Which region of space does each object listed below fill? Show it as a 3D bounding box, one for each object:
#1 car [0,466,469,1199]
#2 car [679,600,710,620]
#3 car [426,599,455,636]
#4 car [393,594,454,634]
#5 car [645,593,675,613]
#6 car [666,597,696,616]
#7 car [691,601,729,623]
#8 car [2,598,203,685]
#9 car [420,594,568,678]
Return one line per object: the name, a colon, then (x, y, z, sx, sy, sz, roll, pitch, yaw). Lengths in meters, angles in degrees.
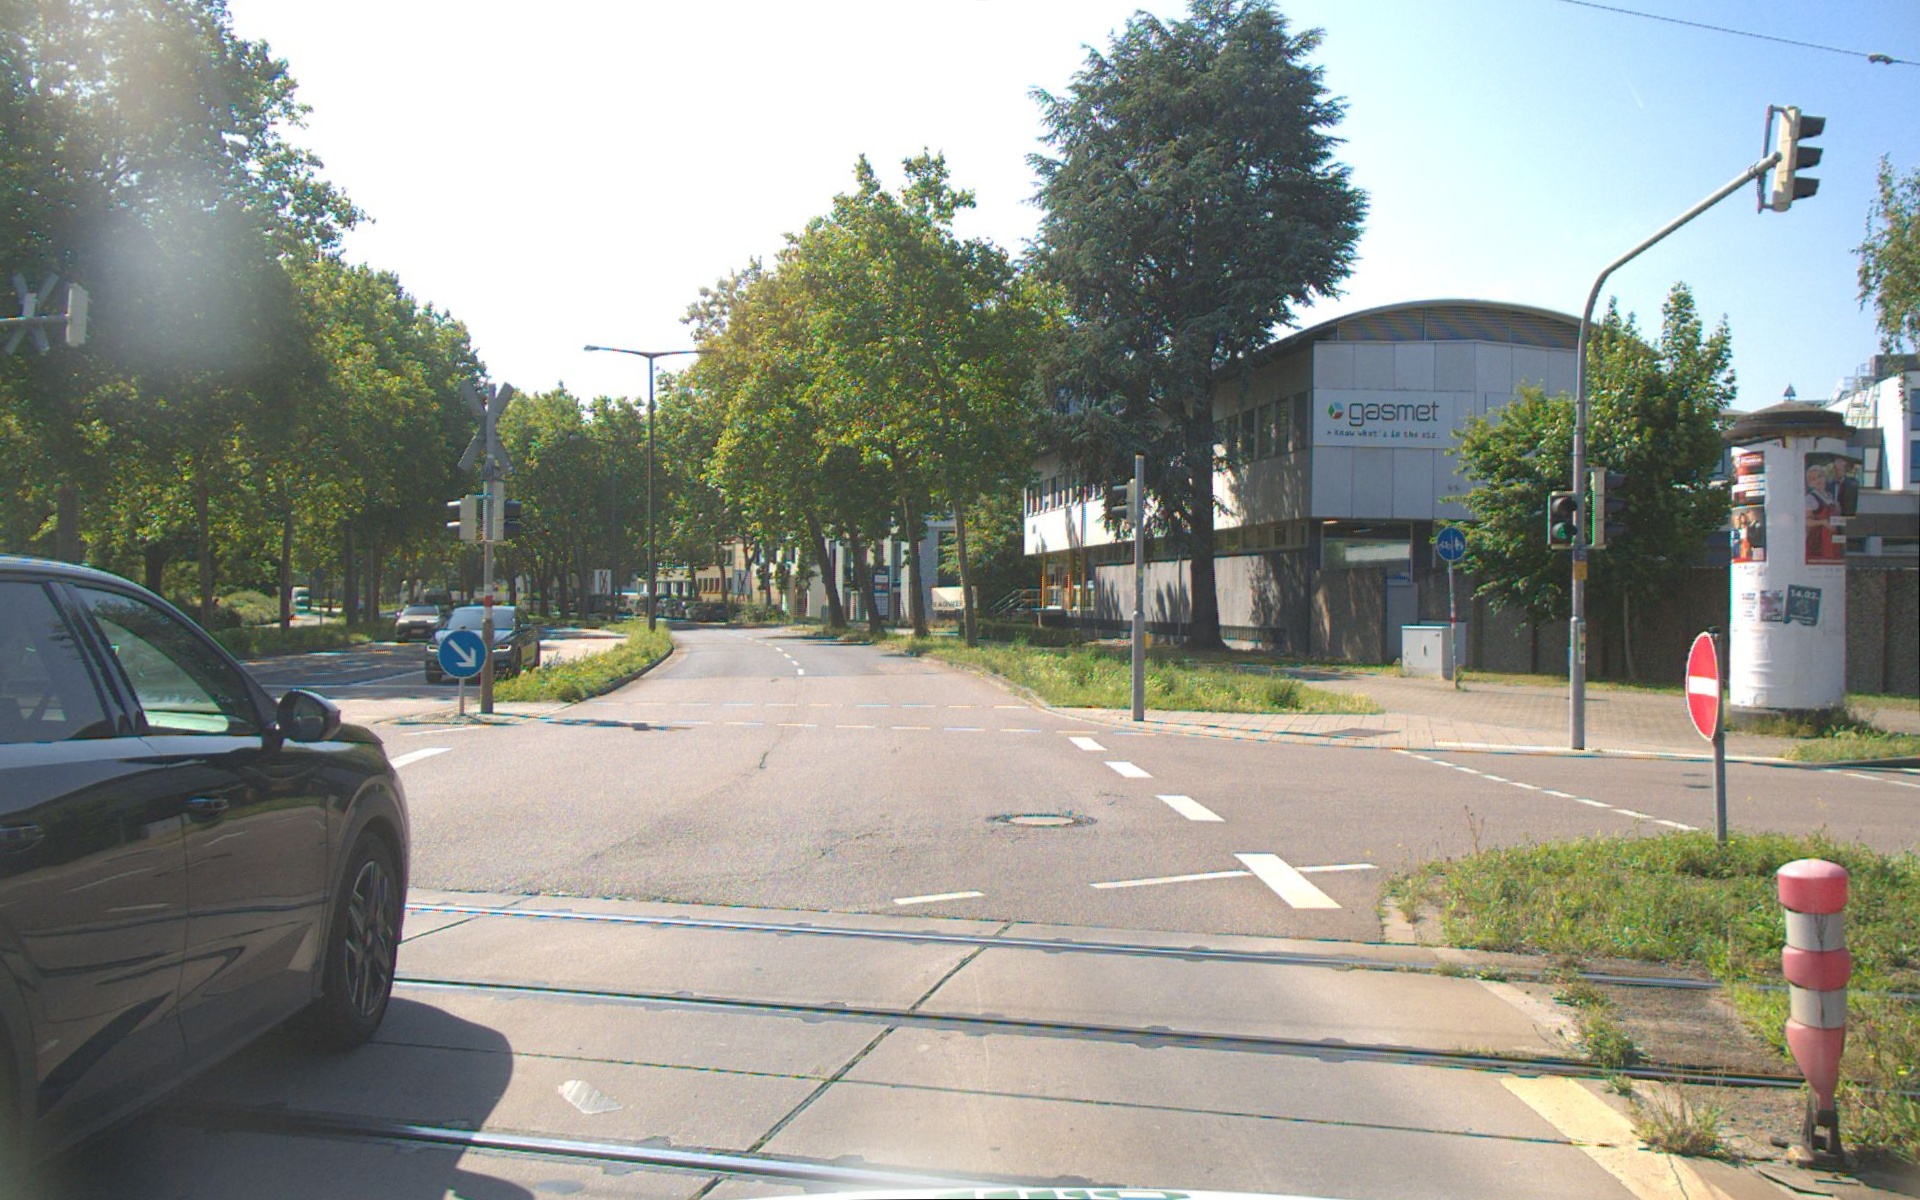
car: (-2.769, 0.613, 4.186, 1.834, 1.726, 4.433, 1, -1, -2)
car: (-20.493, 0.764, 127.514, 1.681, 1.514, 4.079, 0, 0, -19)
car: (-39.343, 1.287, 125.122, 2.028, 2.659, 7.180, -1, 0, -18)
car: (-22.376, 0.555, 69.164, 1.677, 1.617, 4.424, -1, 0, -8)
car: (-26.171, 0.274, 144.191, 1.684, 1.698, 4.500, 0, 0, -24)
car: (-22.380, 0.485, 132.602, 1.681, 1.480, 4.630, 0, 0, -19)
car: (-18.564, 0.852, 122.608, 1.683, 1.513, 4.686, -1, 1, -23)
car: (-16.382, 0.747, 31.872, 1.660, 1.534, 4.658, 0, 0, -3)
car: (-9.134, 0.662, 32.738, 1.659, 1.534, 4.130, 0, 0, 1)
